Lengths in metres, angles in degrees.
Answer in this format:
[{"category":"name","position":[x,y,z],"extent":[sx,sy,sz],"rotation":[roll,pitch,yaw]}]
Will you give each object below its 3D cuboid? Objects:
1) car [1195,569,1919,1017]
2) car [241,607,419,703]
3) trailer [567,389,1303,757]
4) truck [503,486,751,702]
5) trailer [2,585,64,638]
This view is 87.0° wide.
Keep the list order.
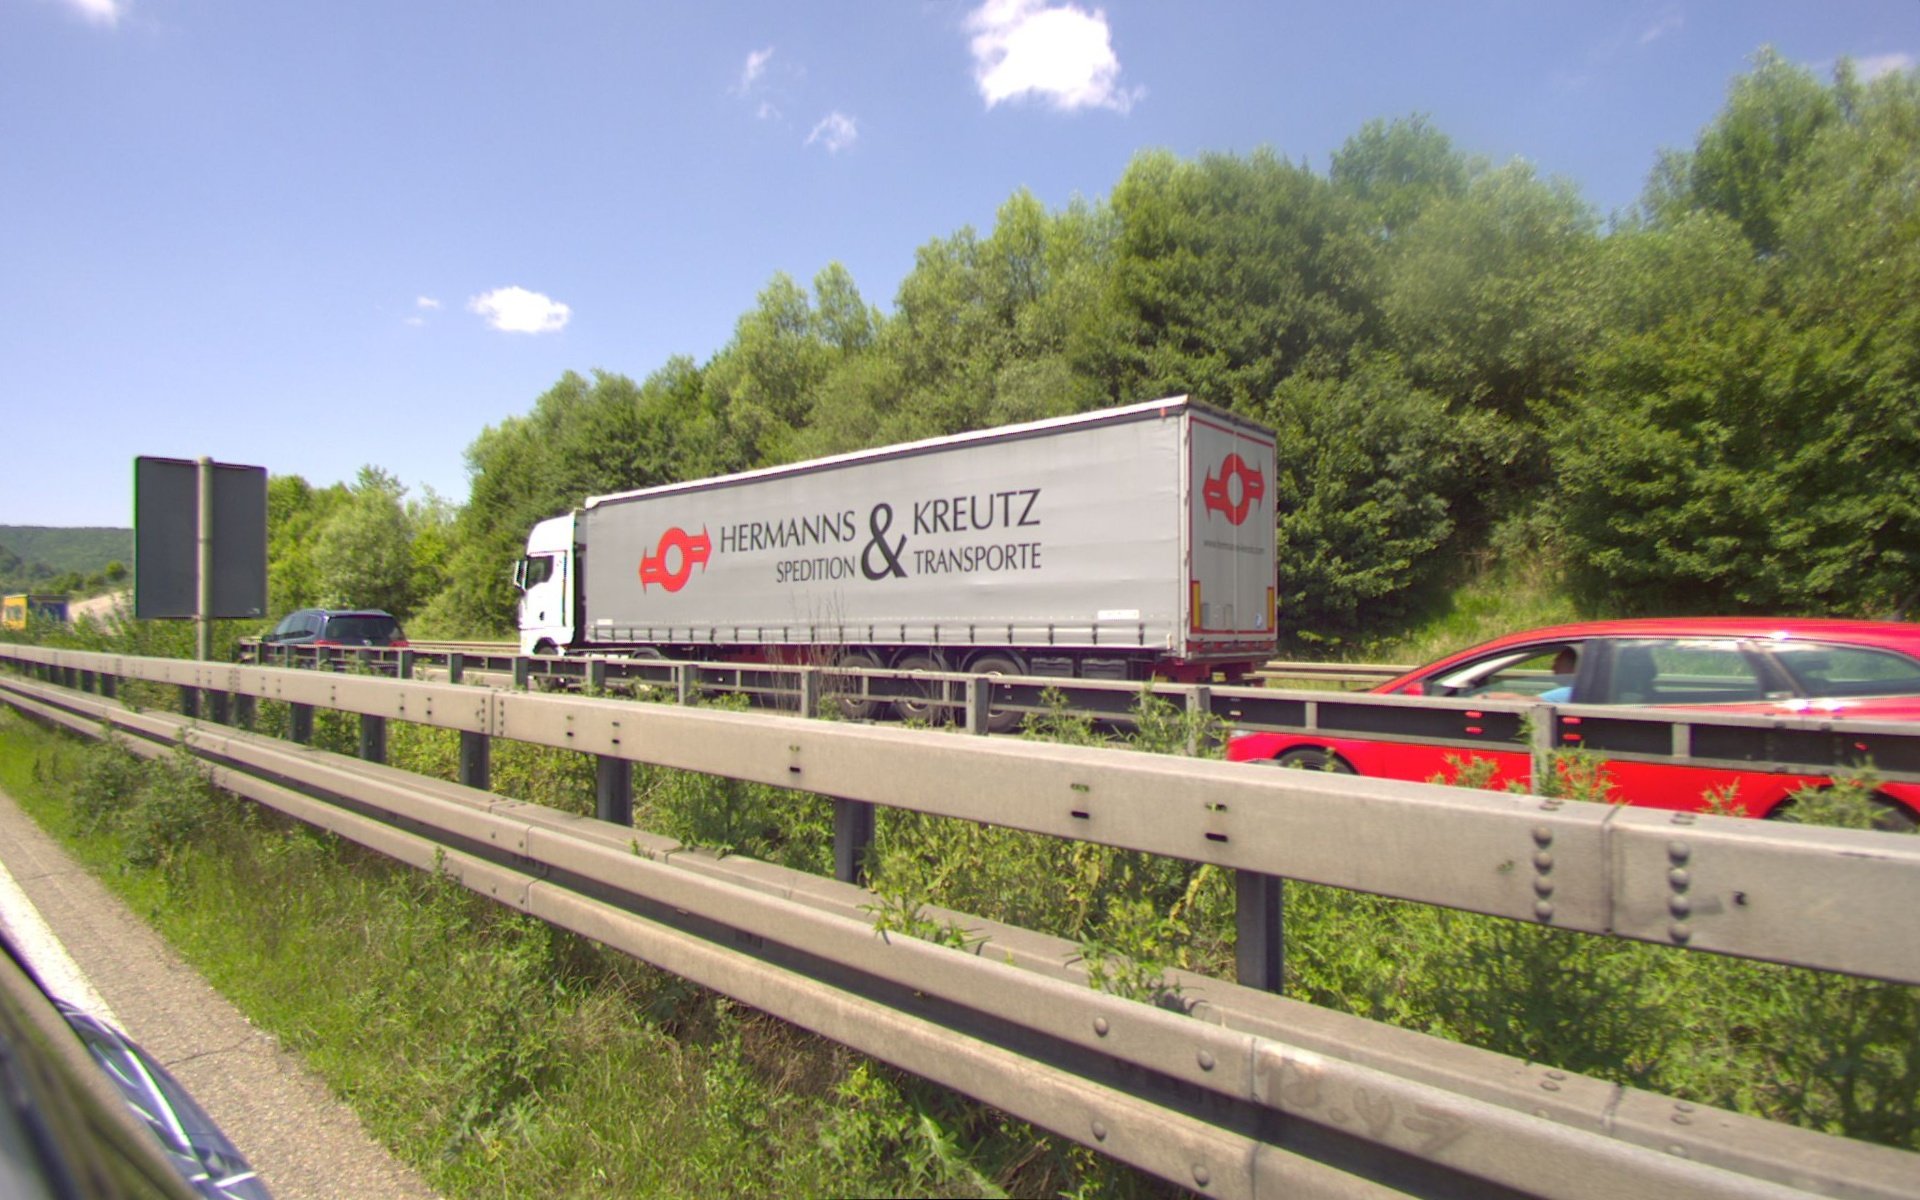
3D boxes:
[{"category":"car","position":[3.897,0.901,6.243],"extent":[4.330,2.029,1.974],"rotation":[-2,-1,39]},{"category":"car","position":[-13.412,1.101,21.428],"extent":[4.597,1.810,1.902],"rotation":[-2,-1,40]},{"category":"trailer","position":[-1.763,-0.152,16.834],"extent":[14.154,4.030,2.753],"rotation":[-2,-1,42]},{"category":"truck","position":[-7.215,-0.031,21.673],"extent":[5.367,4.032,2.699],"rotation":[-2,-2,42]},{"category":"trailer","position":[-75.596,0.980,82.388],"extent":[12.597,4.035,2.553],"rotation":[-2,-1,42]}]
